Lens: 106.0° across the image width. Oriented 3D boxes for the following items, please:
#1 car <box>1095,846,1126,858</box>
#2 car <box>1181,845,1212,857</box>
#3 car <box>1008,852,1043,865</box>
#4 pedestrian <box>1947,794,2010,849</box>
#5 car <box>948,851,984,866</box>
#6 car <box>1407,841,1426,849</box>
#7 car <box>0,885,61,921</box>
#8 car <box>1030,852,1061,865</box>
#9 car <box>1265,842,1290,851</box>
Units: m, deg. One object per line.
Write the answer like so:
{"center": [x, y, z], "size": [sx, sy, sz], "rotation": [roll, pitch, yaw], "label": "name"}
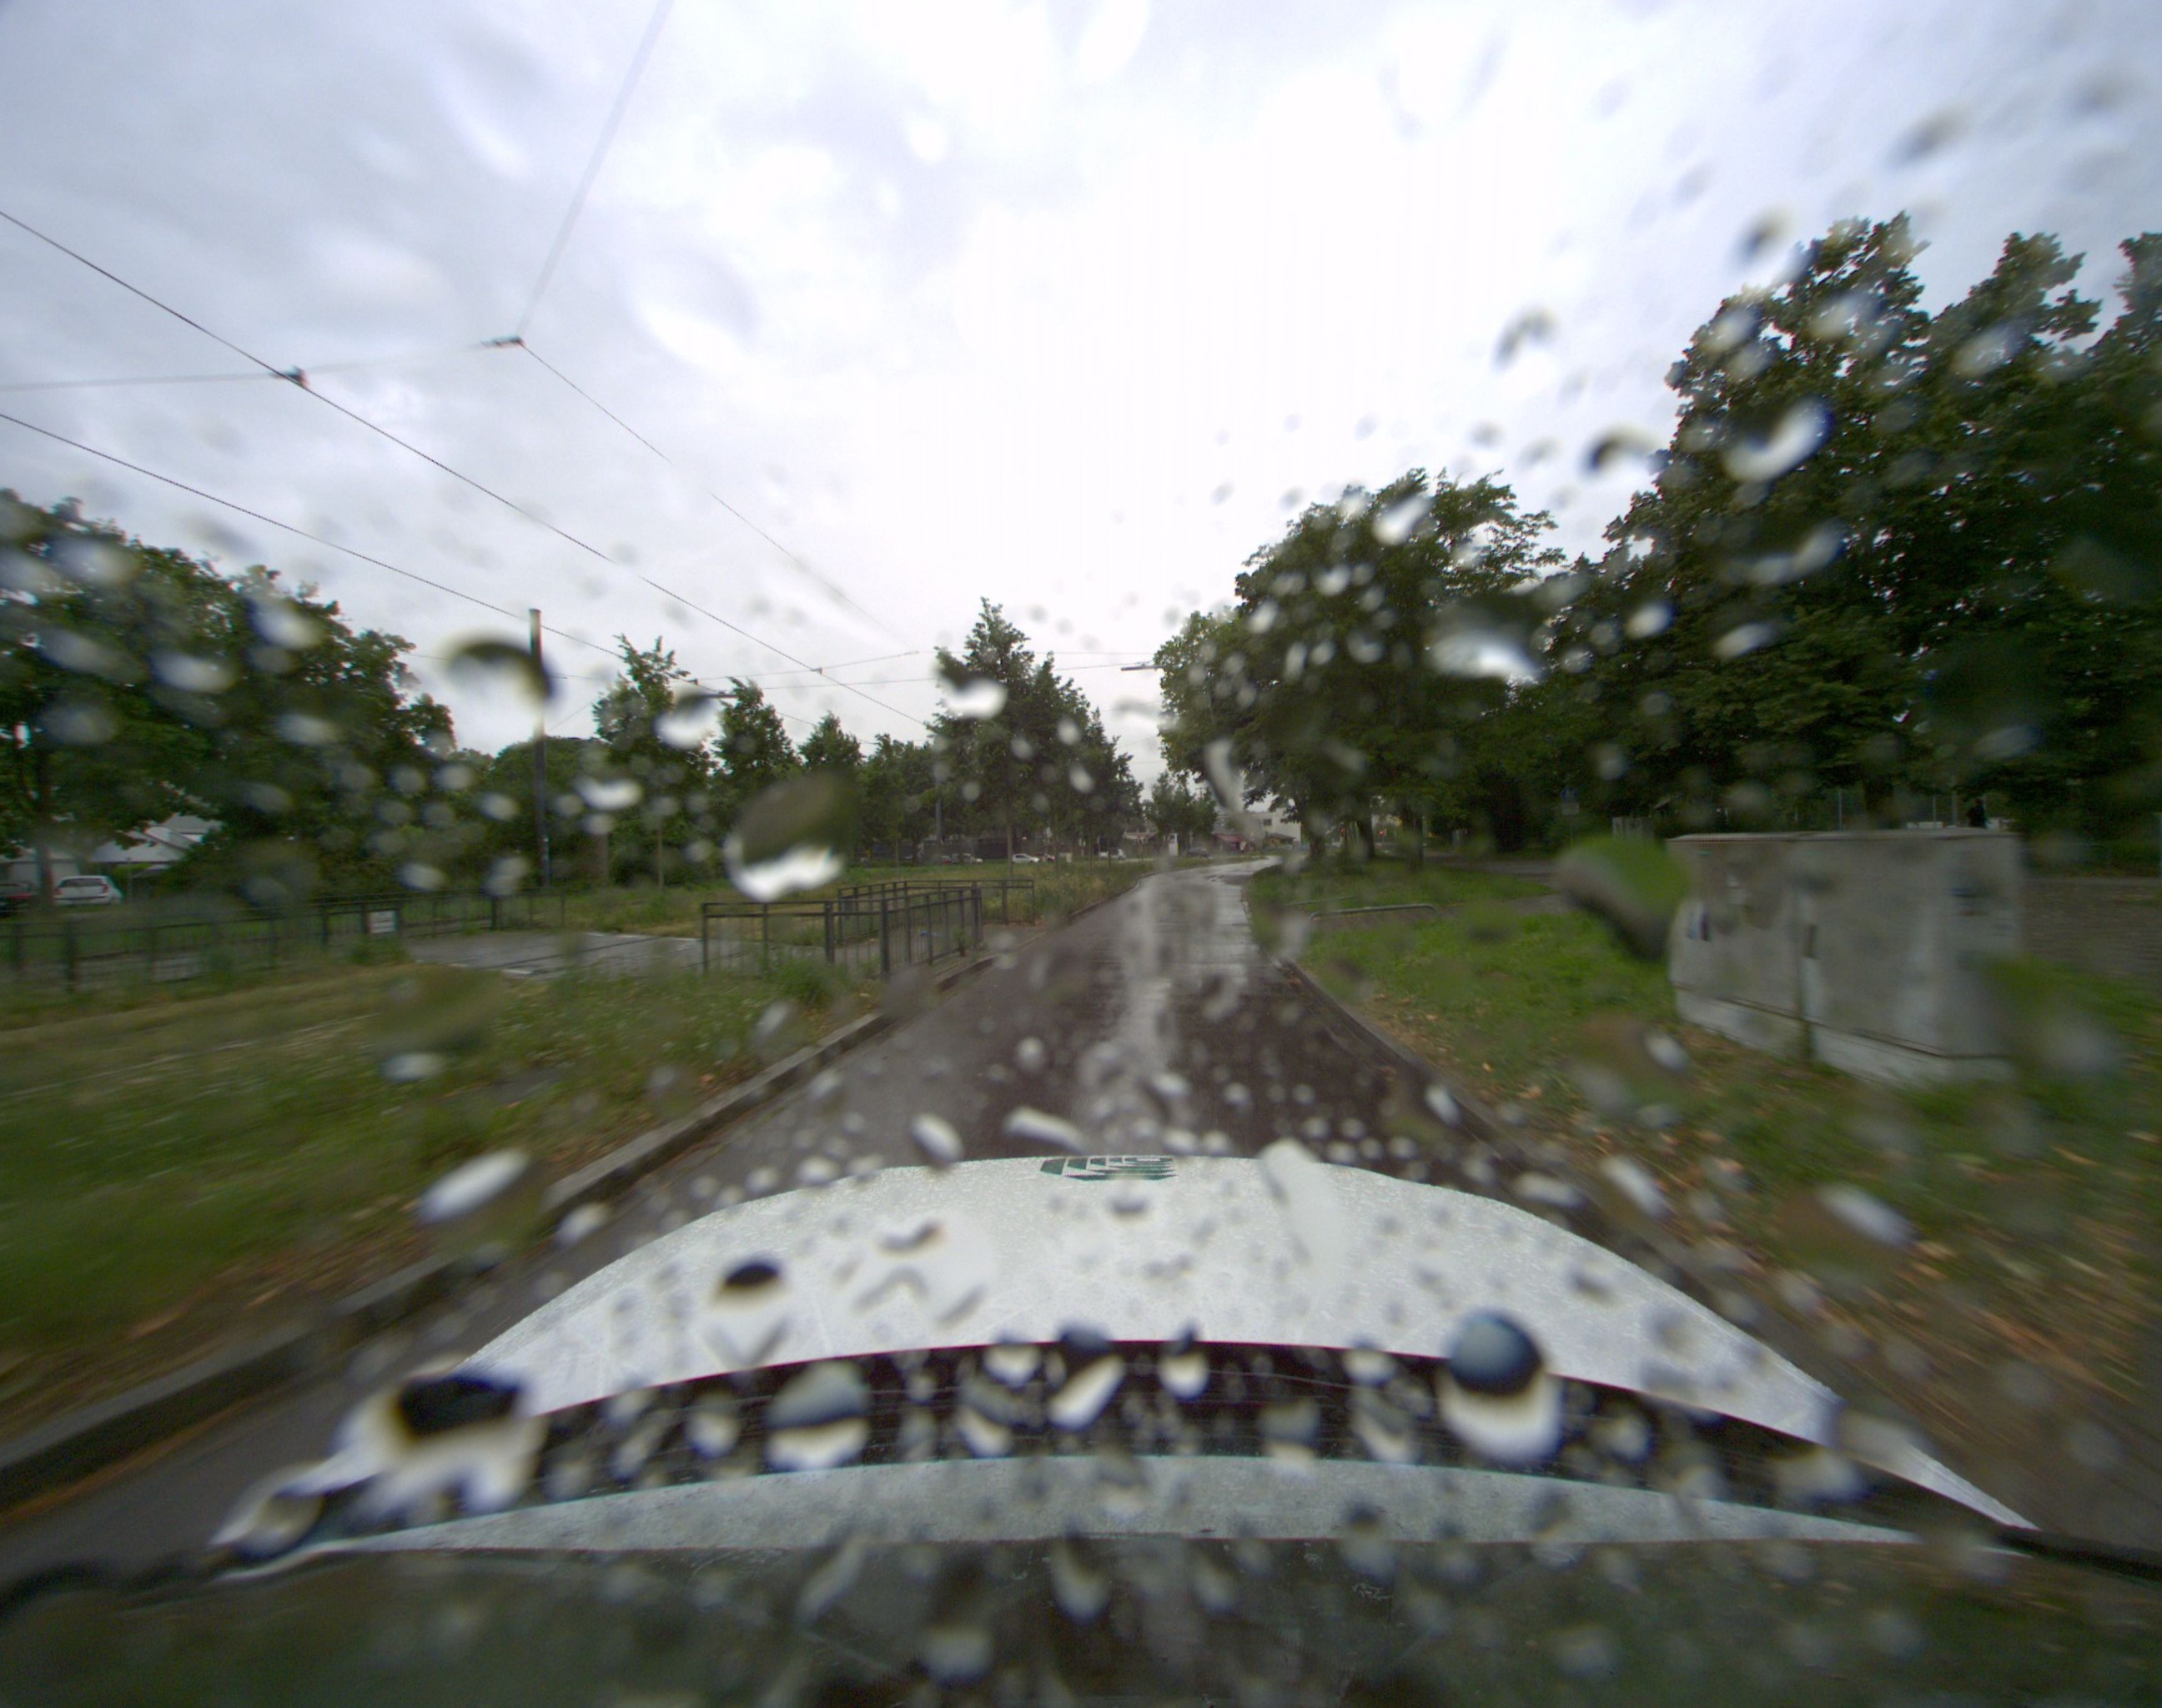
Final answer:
{"center": [4.156, -0.281, 114.737], "size": [3.955, 1.420, 1.545], "rotation": [-2, 0, 17], "label": "car"}
{"center": [15.567, -0.373, 110.012], "size": [3.766, 1.420, 1.700], "rotation": [-2, 1, 38], "label": "car"}
{"center": [-7.145, 0.570, 104.741], "size": [4.038, 1.499, 1.657], "rotation": [-2, 0, 12], "label": "car"}
{"center": [29.120, -1.043, 26.443], "size": [1.026, 1.694, 0.856], "rotation": [-2, 0, 8], "label": "pedestrian"}
{"center": [-15.050, 0.556, 106.642], "size": [4.183, 1.796, 1.657], "rotation": [-2, 1, 10], "label": "car"}
{"center": [79.203, -2.097, 192.271], "size": [4.101, 1.860, 1.682], "rotation": [-2, 0, 19], "label": "car"}
{"center": [-40.584, 1.845, 31.108], "size": [3.695, 1.249, 1.675], "rotation": [-2, 0, 44], "label": "car"}
{"center": [-4.720, 0.592, 108.170], "size": [3.792, 1.499, 1.657], "rotation": [-2, 0, 12], "label": "car"}
{"center": [33.966, -1.253, 140.722], "size": [3.715, 1.442, 1.773], "rotation": [-2, 0, 26], "label": "car"}
